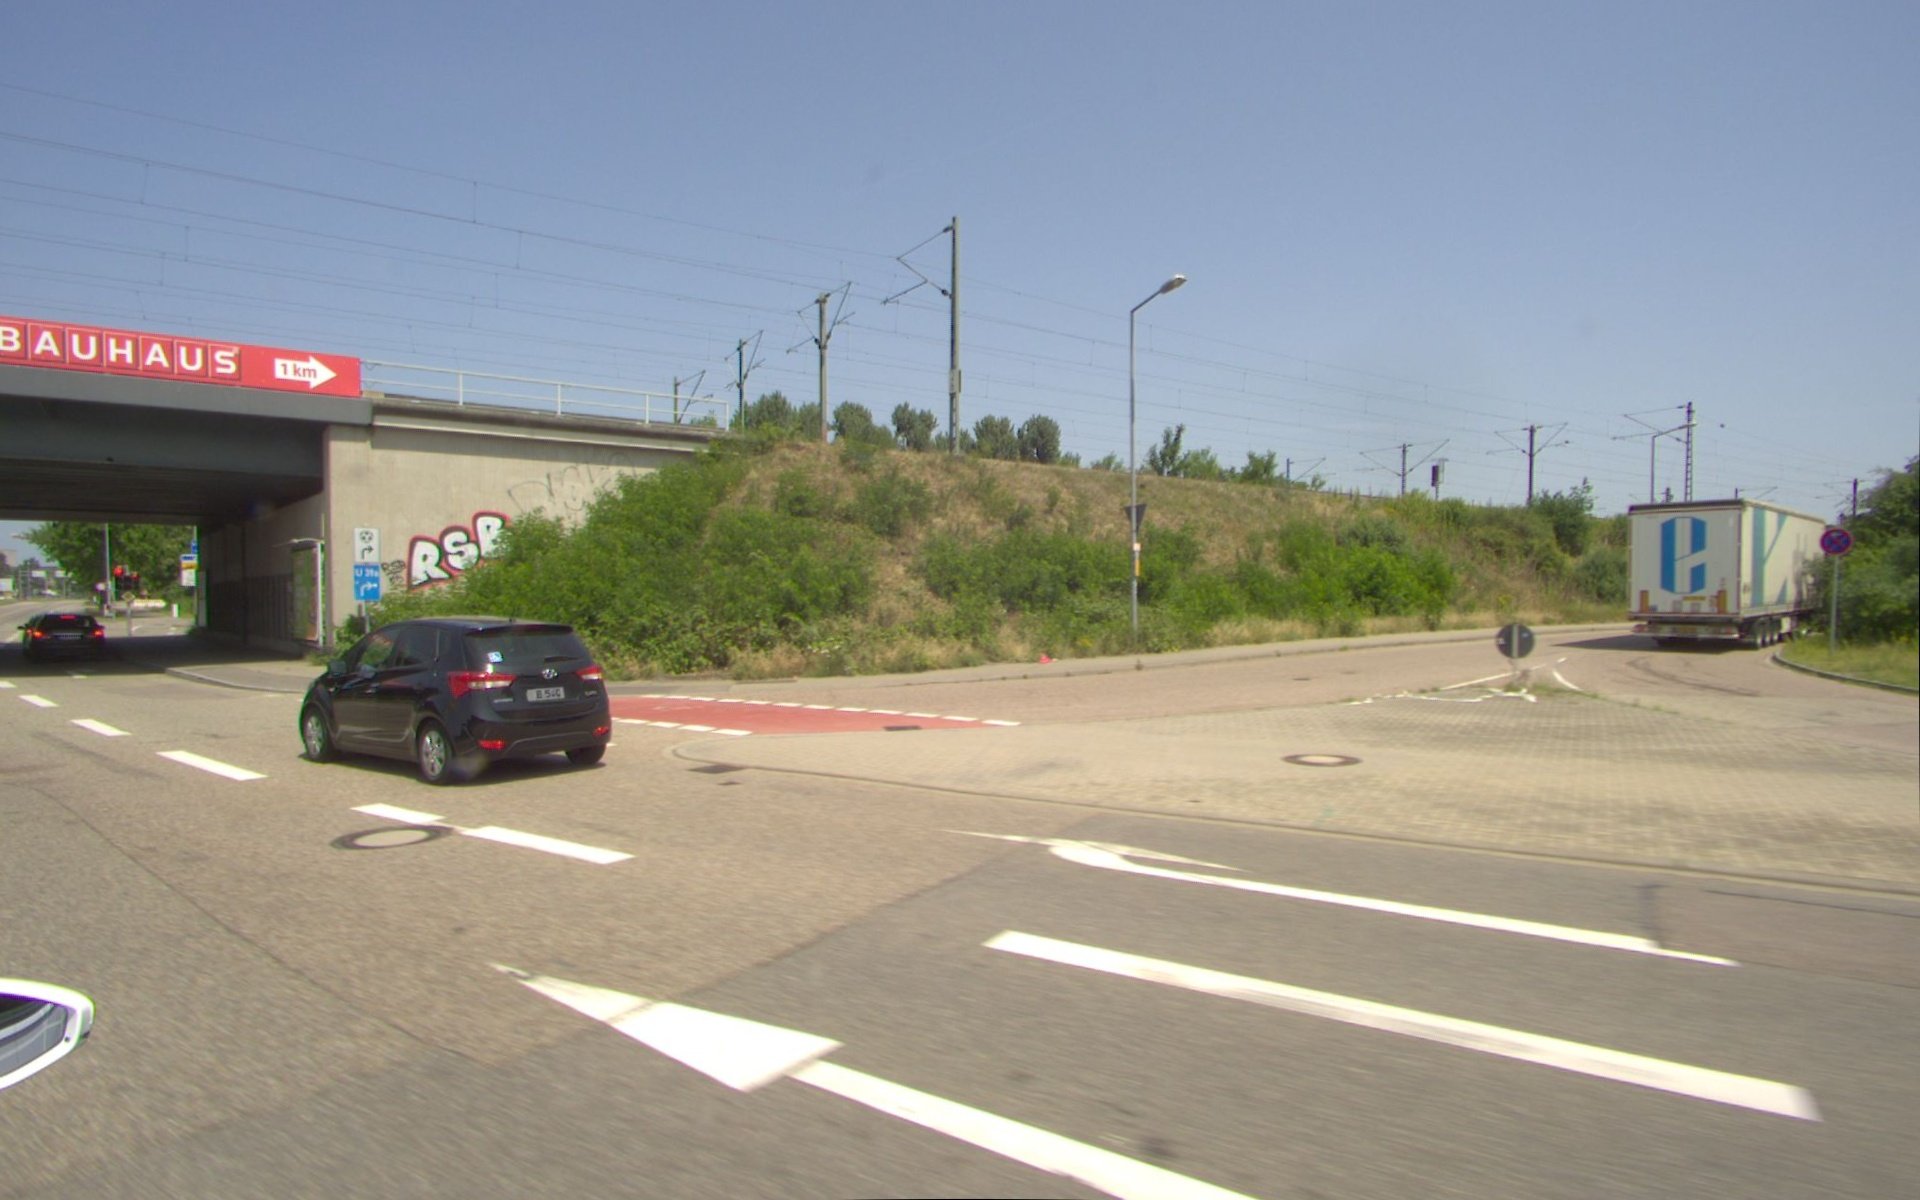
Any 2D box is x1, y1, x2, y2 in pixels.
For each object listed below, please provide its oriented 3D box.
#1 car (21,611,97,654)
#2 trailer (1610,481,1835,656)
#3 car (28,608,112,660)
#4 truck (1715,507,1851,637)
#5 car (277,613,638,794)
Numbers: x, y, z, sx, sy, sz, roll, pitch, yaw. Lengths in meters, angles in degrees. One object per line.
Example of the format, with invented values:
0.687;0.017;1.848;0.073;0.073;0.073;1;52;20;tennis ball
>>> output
-33.434;1.178;37.126;1.893;1.508;3.960;0;-1;-45;car
24.302;-0.872;31.363;14.619;4.428;3.059;-1;1;-43;trailer
-28.915;1.073;32.488;1.829;1.589;3.960;0;-1;-45;car
30.725;-0.989;37.318;6.015;4.428;3.057;-1;2;-42;truck
-5.498;0.952;10.811;4.021;1.620;1.763;0;-1;34;car
